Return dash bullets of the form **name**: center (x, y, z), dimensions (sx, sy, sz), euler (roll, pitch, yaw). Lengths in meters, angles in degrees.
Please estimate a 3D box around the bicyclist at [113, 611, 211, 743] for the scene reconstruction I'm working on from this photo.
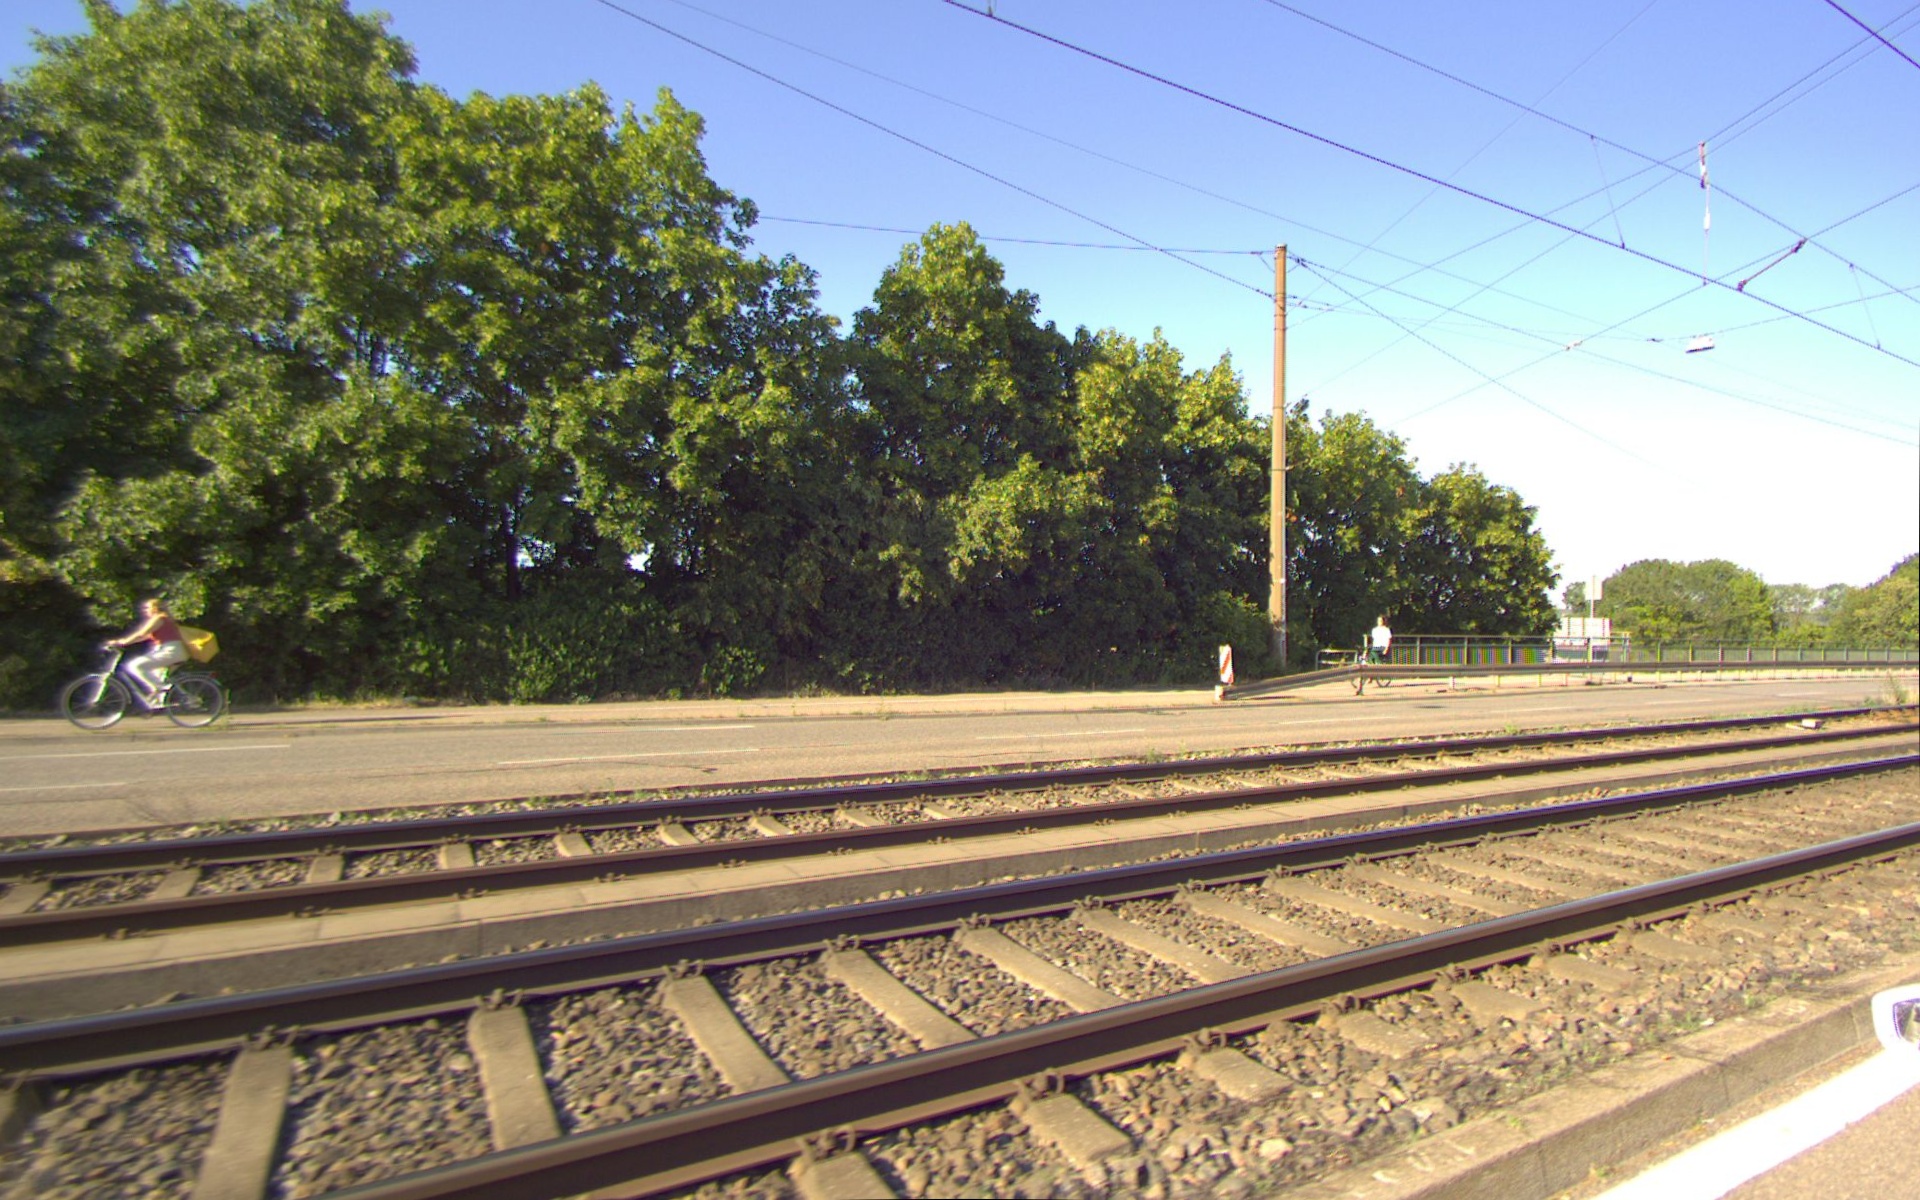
- **bicyclist**: center (-10.731, 1.016, 13.536), dimensions (0.907, 1.709, 0.506), euler (1, 0, -27)

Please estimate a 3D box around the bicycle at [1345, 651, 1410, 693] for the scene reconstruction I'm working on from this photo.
- **bicycle**: center (10.985, 1.880, 26.402), dimensions (1.903, 1.057, 0.537), euler (2, 0, -31)

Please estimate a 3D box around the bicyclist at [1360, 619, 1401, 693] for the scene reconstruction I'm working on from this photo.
- **bicyclist**: center (11.059, 1.460, 26.440), dimensions (0.865, 1.887, 0.537), euler (1, 0, -30)

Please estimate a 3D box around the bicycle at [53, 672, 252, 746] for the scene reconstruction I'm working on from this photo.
- **bicycle**: center (-10.791, 1.440, 13.513), dimensions (2.001, 0.904, 0.506), euler (2, 0, -28)
